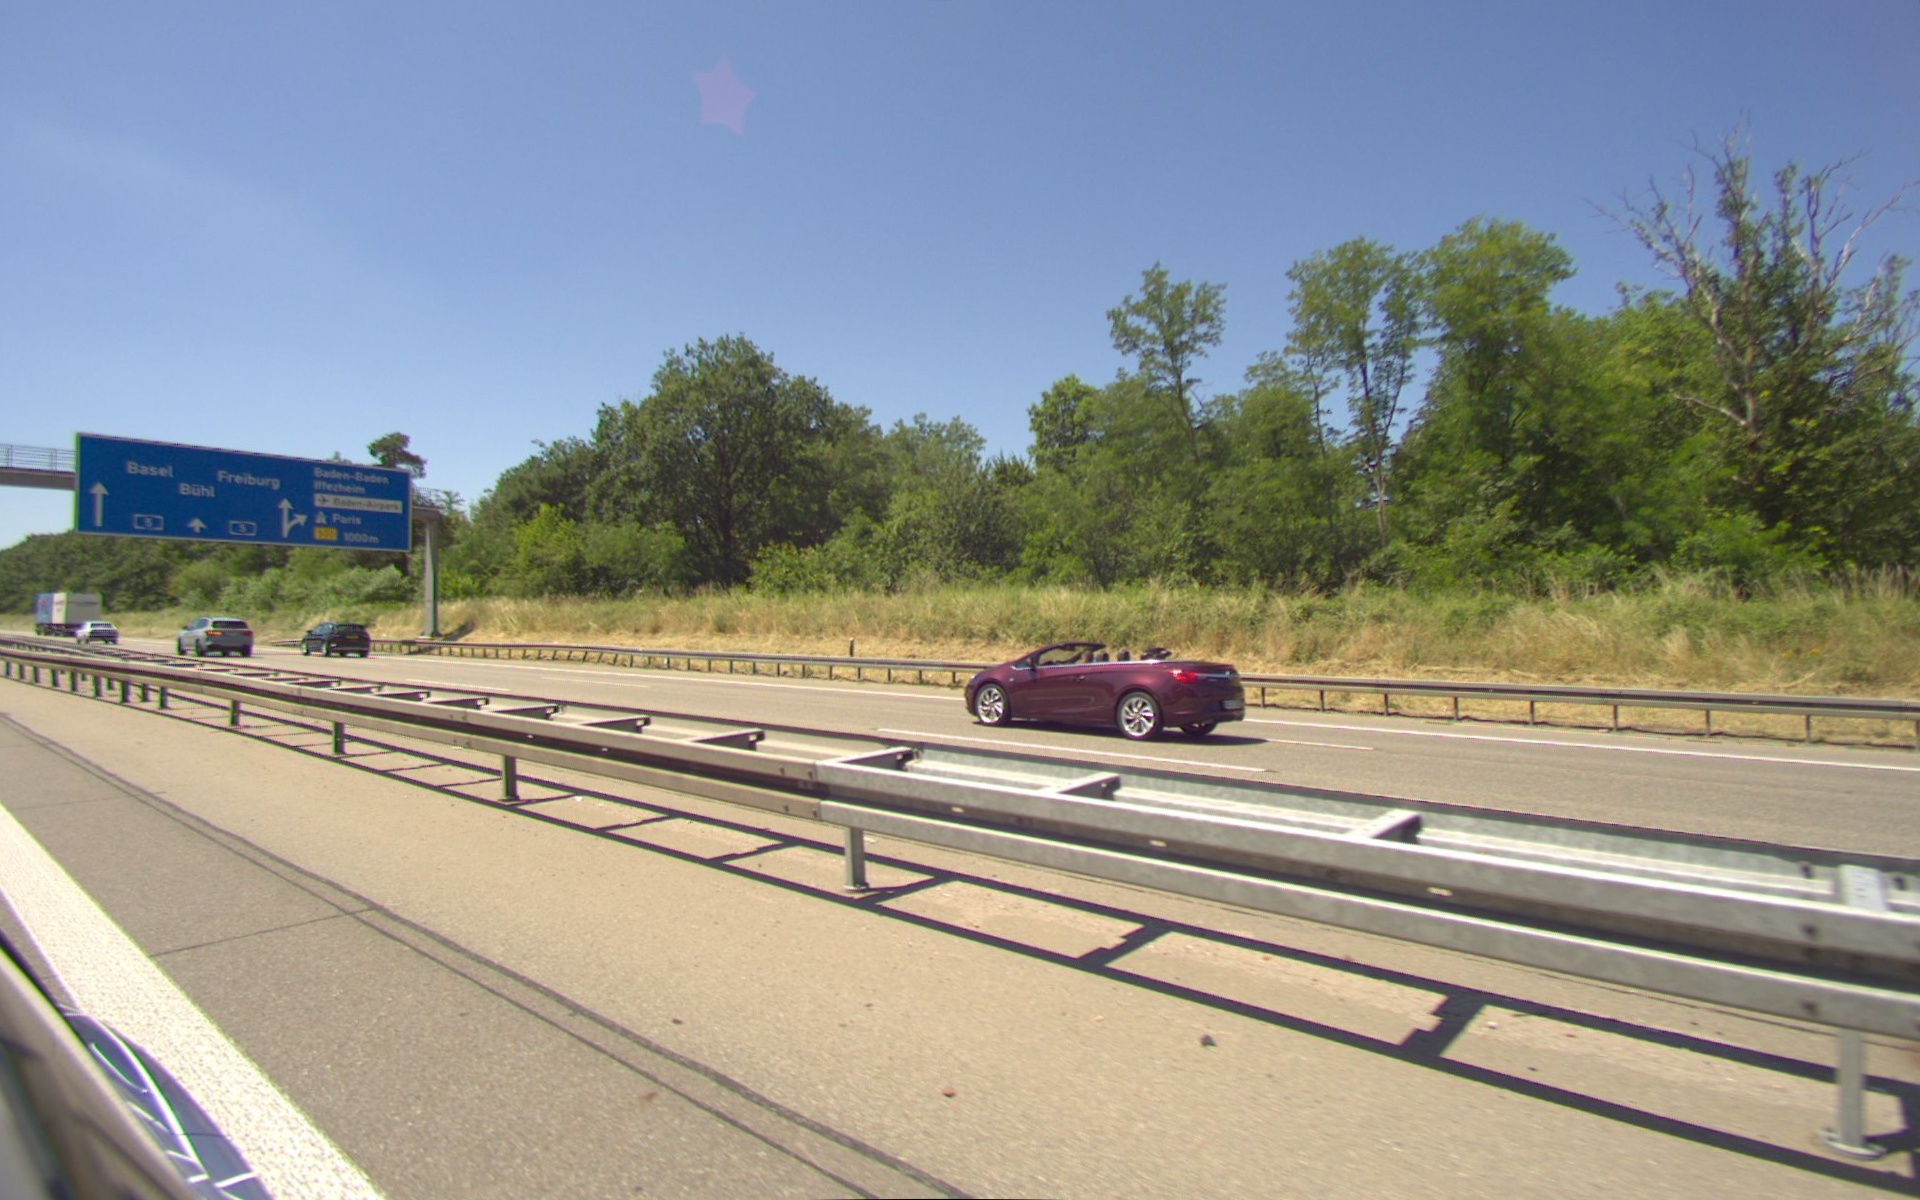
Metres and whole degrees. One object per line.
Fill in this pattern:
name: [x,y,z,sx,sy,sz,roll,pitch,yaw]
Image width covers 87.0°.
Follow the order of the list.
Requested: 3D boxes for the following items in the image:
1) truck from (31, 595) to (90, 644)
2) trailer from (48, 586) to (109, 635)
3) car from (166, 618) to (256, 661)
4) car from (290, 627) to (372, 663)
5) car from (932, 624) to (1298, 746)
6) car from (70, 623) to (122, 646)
truck: [-88.973,1.949,100.016,10.453,4.593,3.026,-1,-2,41]
trailer: [-81.554,1.013,93.531,8.631,4.315,3.026,-1,-2,41]
car: [-32.265,1.662,43.531,5.287,1.731,1.941,-1,-3,41]
car: [-29.362,2.081,47.203,4.947,1.566,1.812,-1,-3,41]
car: [2.184,1.169,15.375,5.287,1.537,1.941,-1,-3,41]
car: [-54.683,2.181,64.054,4.477,1.406,1.788,-1,-3,41]
